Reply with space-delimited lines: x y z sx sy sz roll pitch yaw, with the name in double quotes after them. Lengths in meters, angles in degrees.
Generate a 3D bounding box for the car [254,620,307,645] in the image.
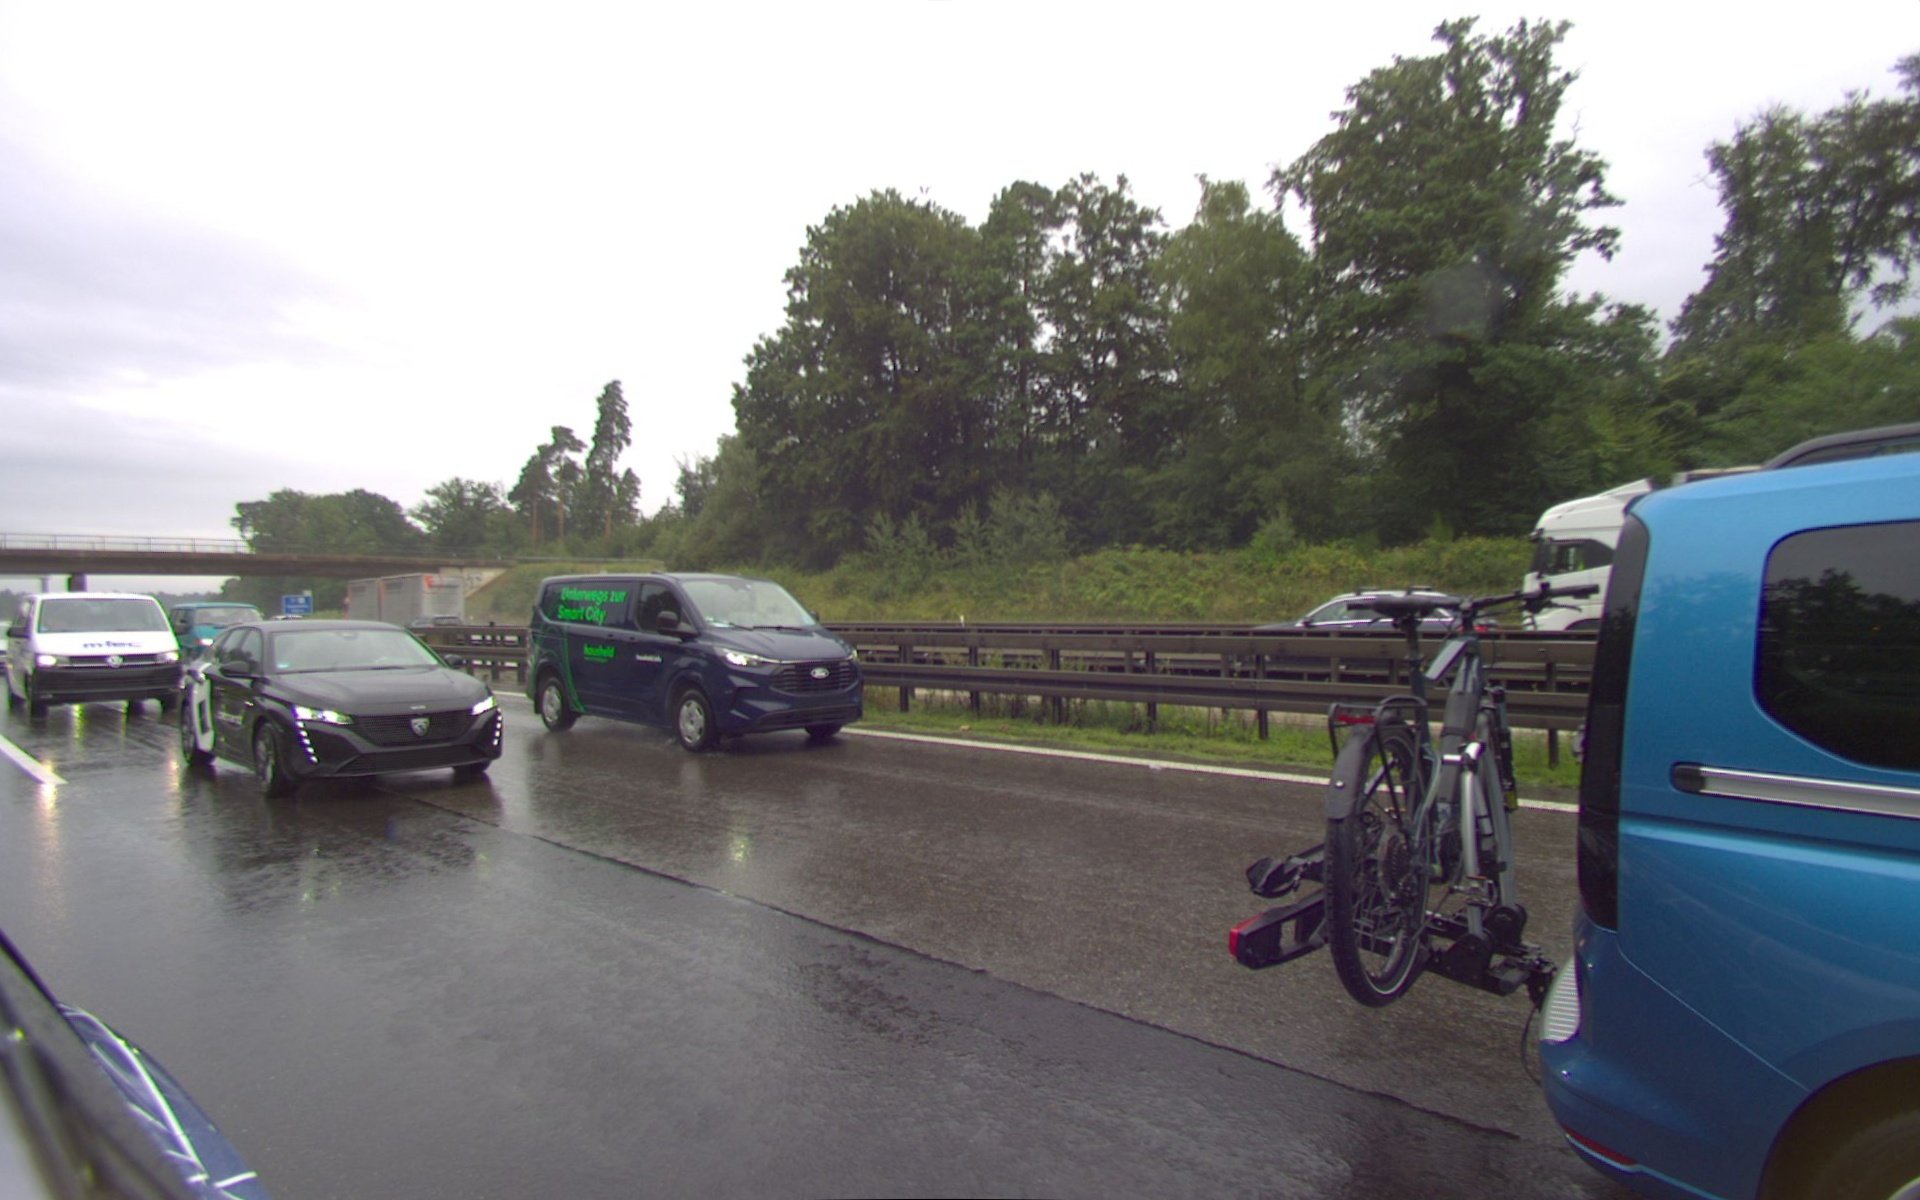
-44.024 2.118 65.540 4.329 1.509 1.817 -2 -1 41 "car"

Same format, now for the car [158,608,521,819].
-6.020 0.881 9.564 4.466 1.516 1.825 -2 -1 43 "car"

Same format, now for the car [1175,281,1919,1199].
3.147 0.410 1.686 5.017 1.926 2.244 -2 -1 44 "car"

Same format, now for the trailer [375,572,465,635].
-35.160 0.276 65.712 2.652 3.847 9.011 0 -1 -45 "trailer"

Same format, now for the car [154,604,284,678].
-20.522 1.078 27.957 4.757 1.877 1.890 -1 0 41 "car"

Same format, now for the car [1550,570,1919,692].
11.051 0.415 14.387 4.329 1.509 1.817 -2 -1 41 "car"

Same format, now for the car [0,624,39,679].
-28.119 1.459 29.284 4.467 1.516 1.825 -1 -1 43 "car"

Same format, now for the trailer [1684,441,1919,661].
20.377 -0.922 16.631 13.550 3.847 2.993 -2 -1 40 "trailer"

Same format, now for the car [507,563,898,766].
-3.302 0.649 12.214 5.240 1.958 1.970 -1 0 41 "car"

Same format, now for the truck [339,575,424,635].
-41.019 0.412 71.580 2.673 3.961 10.033 0 -1 -45 "truck"

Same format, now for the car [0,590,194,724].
-14.319 0.846 16.643 4.767 1.894 1.968 -2 -1 43 "car"

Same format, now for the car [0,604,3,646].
-38.542 1.009 39.119 4.767 1.572 1.968 -2 -1 43 "car"

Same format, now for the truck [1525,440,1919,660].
15.495 -0.818 20.805 6.261 3.847 2.989 -2 -1 41 "truck"

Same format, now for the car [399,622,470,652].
-24.523 1.700 47.180 3.754 1.314 1.684 -2 -1 41 "car"
